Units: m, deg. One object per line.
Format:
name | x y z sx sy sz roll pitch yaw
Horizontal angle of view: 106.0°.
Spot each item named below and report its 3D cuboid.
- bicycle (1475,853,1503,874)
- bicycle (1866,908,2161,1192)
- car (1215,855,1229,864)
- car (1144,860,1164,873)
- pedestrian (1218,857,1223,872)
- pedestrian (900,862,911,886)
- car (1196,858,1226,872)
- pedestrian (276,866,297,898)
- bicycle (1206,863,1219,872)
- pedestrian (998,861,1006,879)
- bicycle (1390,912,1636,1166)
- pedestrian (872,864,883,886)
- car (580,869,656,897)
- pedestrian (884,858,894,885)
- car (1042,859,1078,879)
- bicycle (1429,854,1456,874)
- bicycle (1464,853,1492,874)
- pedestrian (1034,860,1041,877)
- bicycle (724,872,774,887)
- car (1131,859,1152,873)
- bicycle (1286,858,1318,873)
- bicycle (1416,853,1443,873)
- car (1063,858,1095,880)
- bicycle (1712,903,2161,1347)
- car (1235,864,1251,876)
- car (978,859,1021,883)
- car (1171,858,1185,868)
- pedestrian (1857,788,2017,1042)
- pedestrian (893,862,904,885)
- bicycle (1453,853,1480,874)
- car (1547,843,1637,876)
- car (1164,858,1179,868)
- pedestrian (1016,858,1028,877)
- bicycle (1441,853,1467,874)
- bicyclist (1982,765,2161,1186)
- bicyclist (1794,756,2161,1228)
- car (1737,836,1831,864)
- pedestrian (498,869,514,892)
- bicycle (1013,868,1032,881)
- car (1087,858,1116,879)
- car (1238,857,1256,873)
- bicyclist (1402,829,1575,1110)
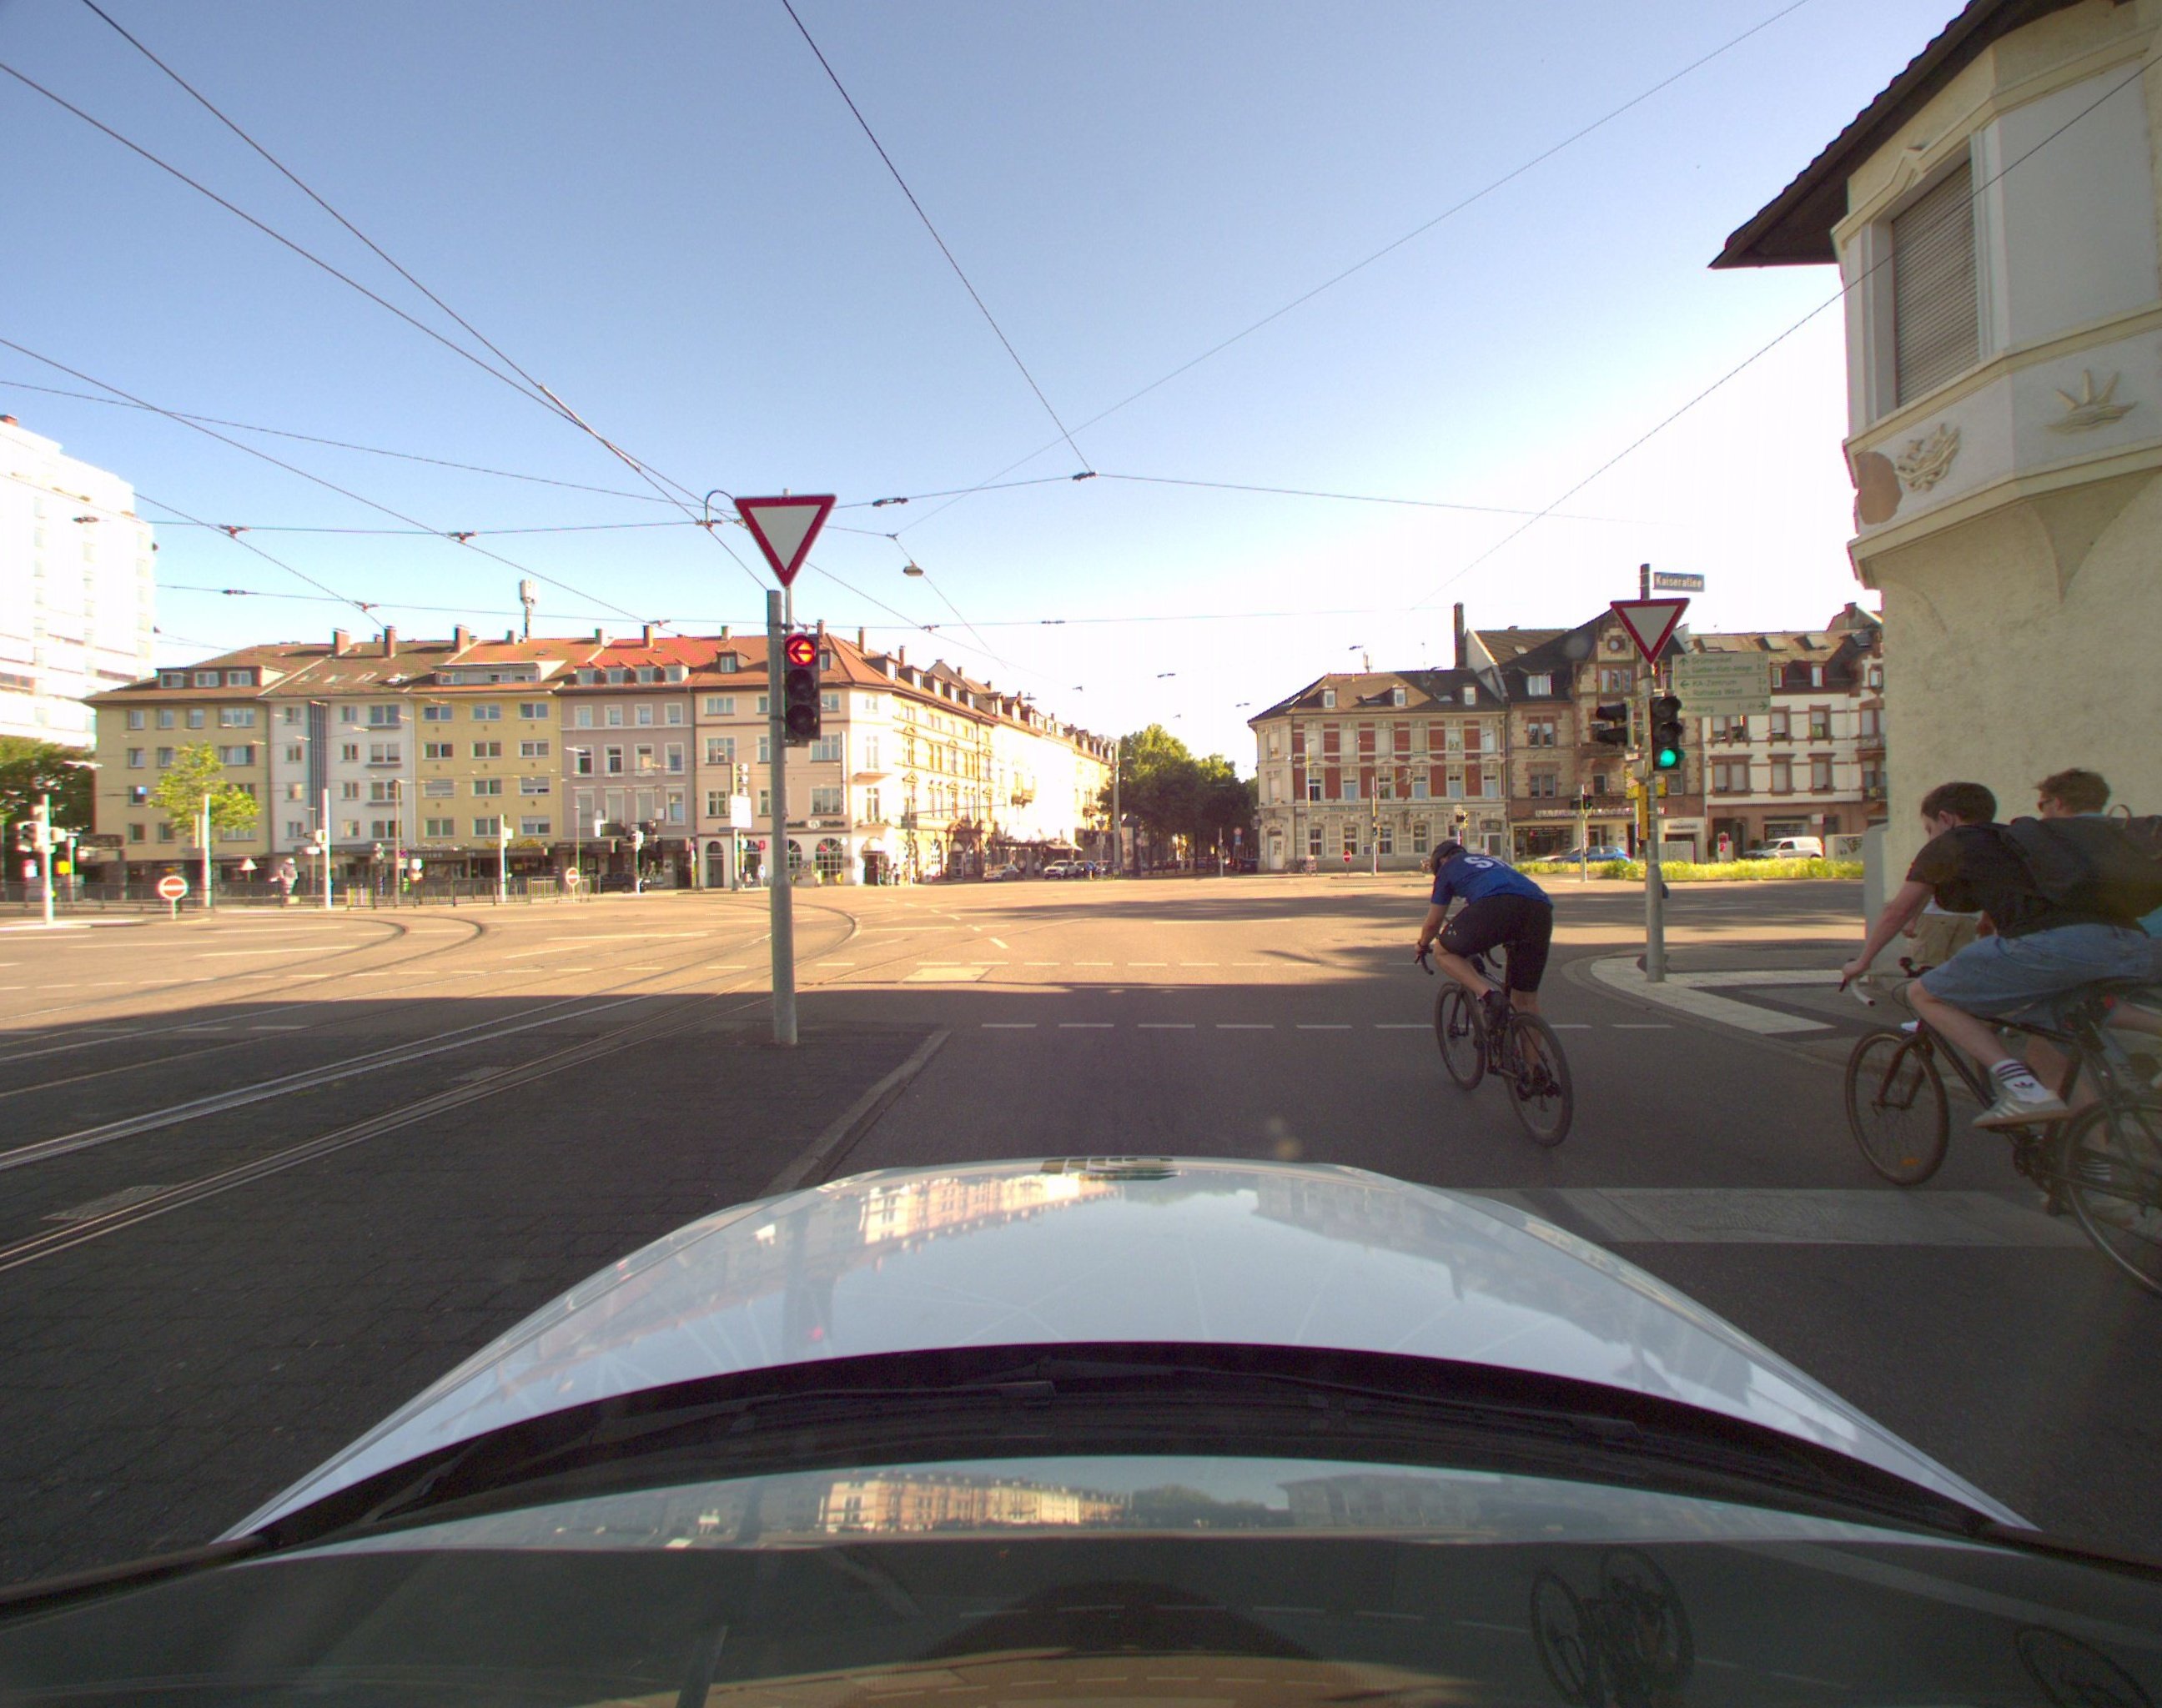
bicycle | 26.198 0.604 52.358 0.626 1.287 2.663 0 -1 3
bicycle | 4.544 0.802 3.518 0.647 1.031 1.772 0 -1 3
car | 23.235 0.912 134.201 1.546 1.513 3.673 -1 -1 19
car | 11.020 1.915 122.536 1.977 1.904 4.019 -1 -1 19
pedestrian | 17.489 1.329 102.142 0.635 1.796 0.492 -1 -1 14
pedestrian | -12.433 1.400 57.640 0.631 1.634 0.700 0 -1 -2
car | 18.339 1.559 114.728 3.955 1.904 2.009 -1 -1 17
pedestrian | -40.938 1.444 41.963 0.523 1.628 0.577 0 -1 0
bicycle | 15.995 1.646 98.867 0.630 1.085 1.687 0 -1 -28
pedestrian | -7.203 1.500 74.349 0.539 1.631 0.709 -1 -1 15
bicycle | 2.365 0.935 4.708 0.623 1.085 1.705 0 -1 5
pedestrian | -14.157 1.457 56.597 0.631 1.477 0.465 0 -1 -2
car | -30.588 1.921 53.820 3.962 1.670 2.006 -2 0 10
pedestrian | -13.588 1.241 57.606 0.631 1.881 0.465 0 -1 -2
car | -1.672 1.229 67.330 1.979 1.618 4.015 -1 -1 14
bicycle | 23.262 0.634 52.425 0.689 1.287 2.663 0 -1 3
bicycle | 25.503 0.606 52.387 0.626 1.287 2.663 0 -1 3
pedestrian | -4.387 1.467 82.249 0.539 1.631 0.709 -1 -1 15
bicycle | -23.424 1.792 57.468 3.118 0.980 1.002 0 -1 1
car | 8.398 1.618 112.696 1.977 1.904 4.019 -1 -1 19
bicycle | 15.444 0.809 56.867 2.040 0.998 0.631 -1 -1 4
bicycle | 22.418 0.585 52.433 0.689 1.287 2.663 0 -1 3
car | -0.157 1.365 73.376 1.979 1.904 4.015 -1 -1 14
bicycle | 3.598 0.863 3.304 0.752 1.236 1.702 0 -1 0
car | 19.664 1.915 98.846 1.741 1.362 3.870 -1 -1 14
car | -6.687 1.367 67.475 1.977 1.904 4.019 -1 -1 19
car | 16.233 1.510 136.103 1.546 1.513 3.673 -1 -1 19
pedestrian | 6.369 0.426 6.065 0.589 1.756 0.635 -5 -1 -37
pedestrian | -12.636 1.345 56.369 0.631 1.634 0.700 0 -1 -2
bicycle | 24.775 0.607 52.391 0.626 1.287 2.663 0 -1 3
car | 28.278 0.306 45.142 3.769 1.778 2.000 0 -1 1
car | 14.684 1.461 131.848 1.546 1.513 3.673 -1 -1 19
pedestrian | -4.759 1.105 65.492 0.814 1.512 0.601 -1 -1 16
bicycle | 23.985 0.620 52.419 0.626 1.287 2.663 0 -1 3
bicyclist | 4.539 0.470 3.345 0.686 1.633 0.884 0 -1 4
bicyclist | 3.624 0.470 3.231 0.803 1.606 0.883 0 -1 0
car | 45.312 -0.238 52.573 4.349 1.778 2.000 0 -1 1
pedestrian | -40.491 1.845 57.384 0.631 1.634 0.700 0 -1 -2
bicycle | -4.731 1.634 65.561 0.756 1.008 2.406 -1 -1 16
car | 2.005 1.400 79.675 1.979 1.904 4.015 -1 -1 14
car | 16.819 1.119 82.366 1.680 1.565 3.855 -1 -1 14
bicyclist | 2.339 0.605 4.771 0.635 1.494 0.885 0 1 6
